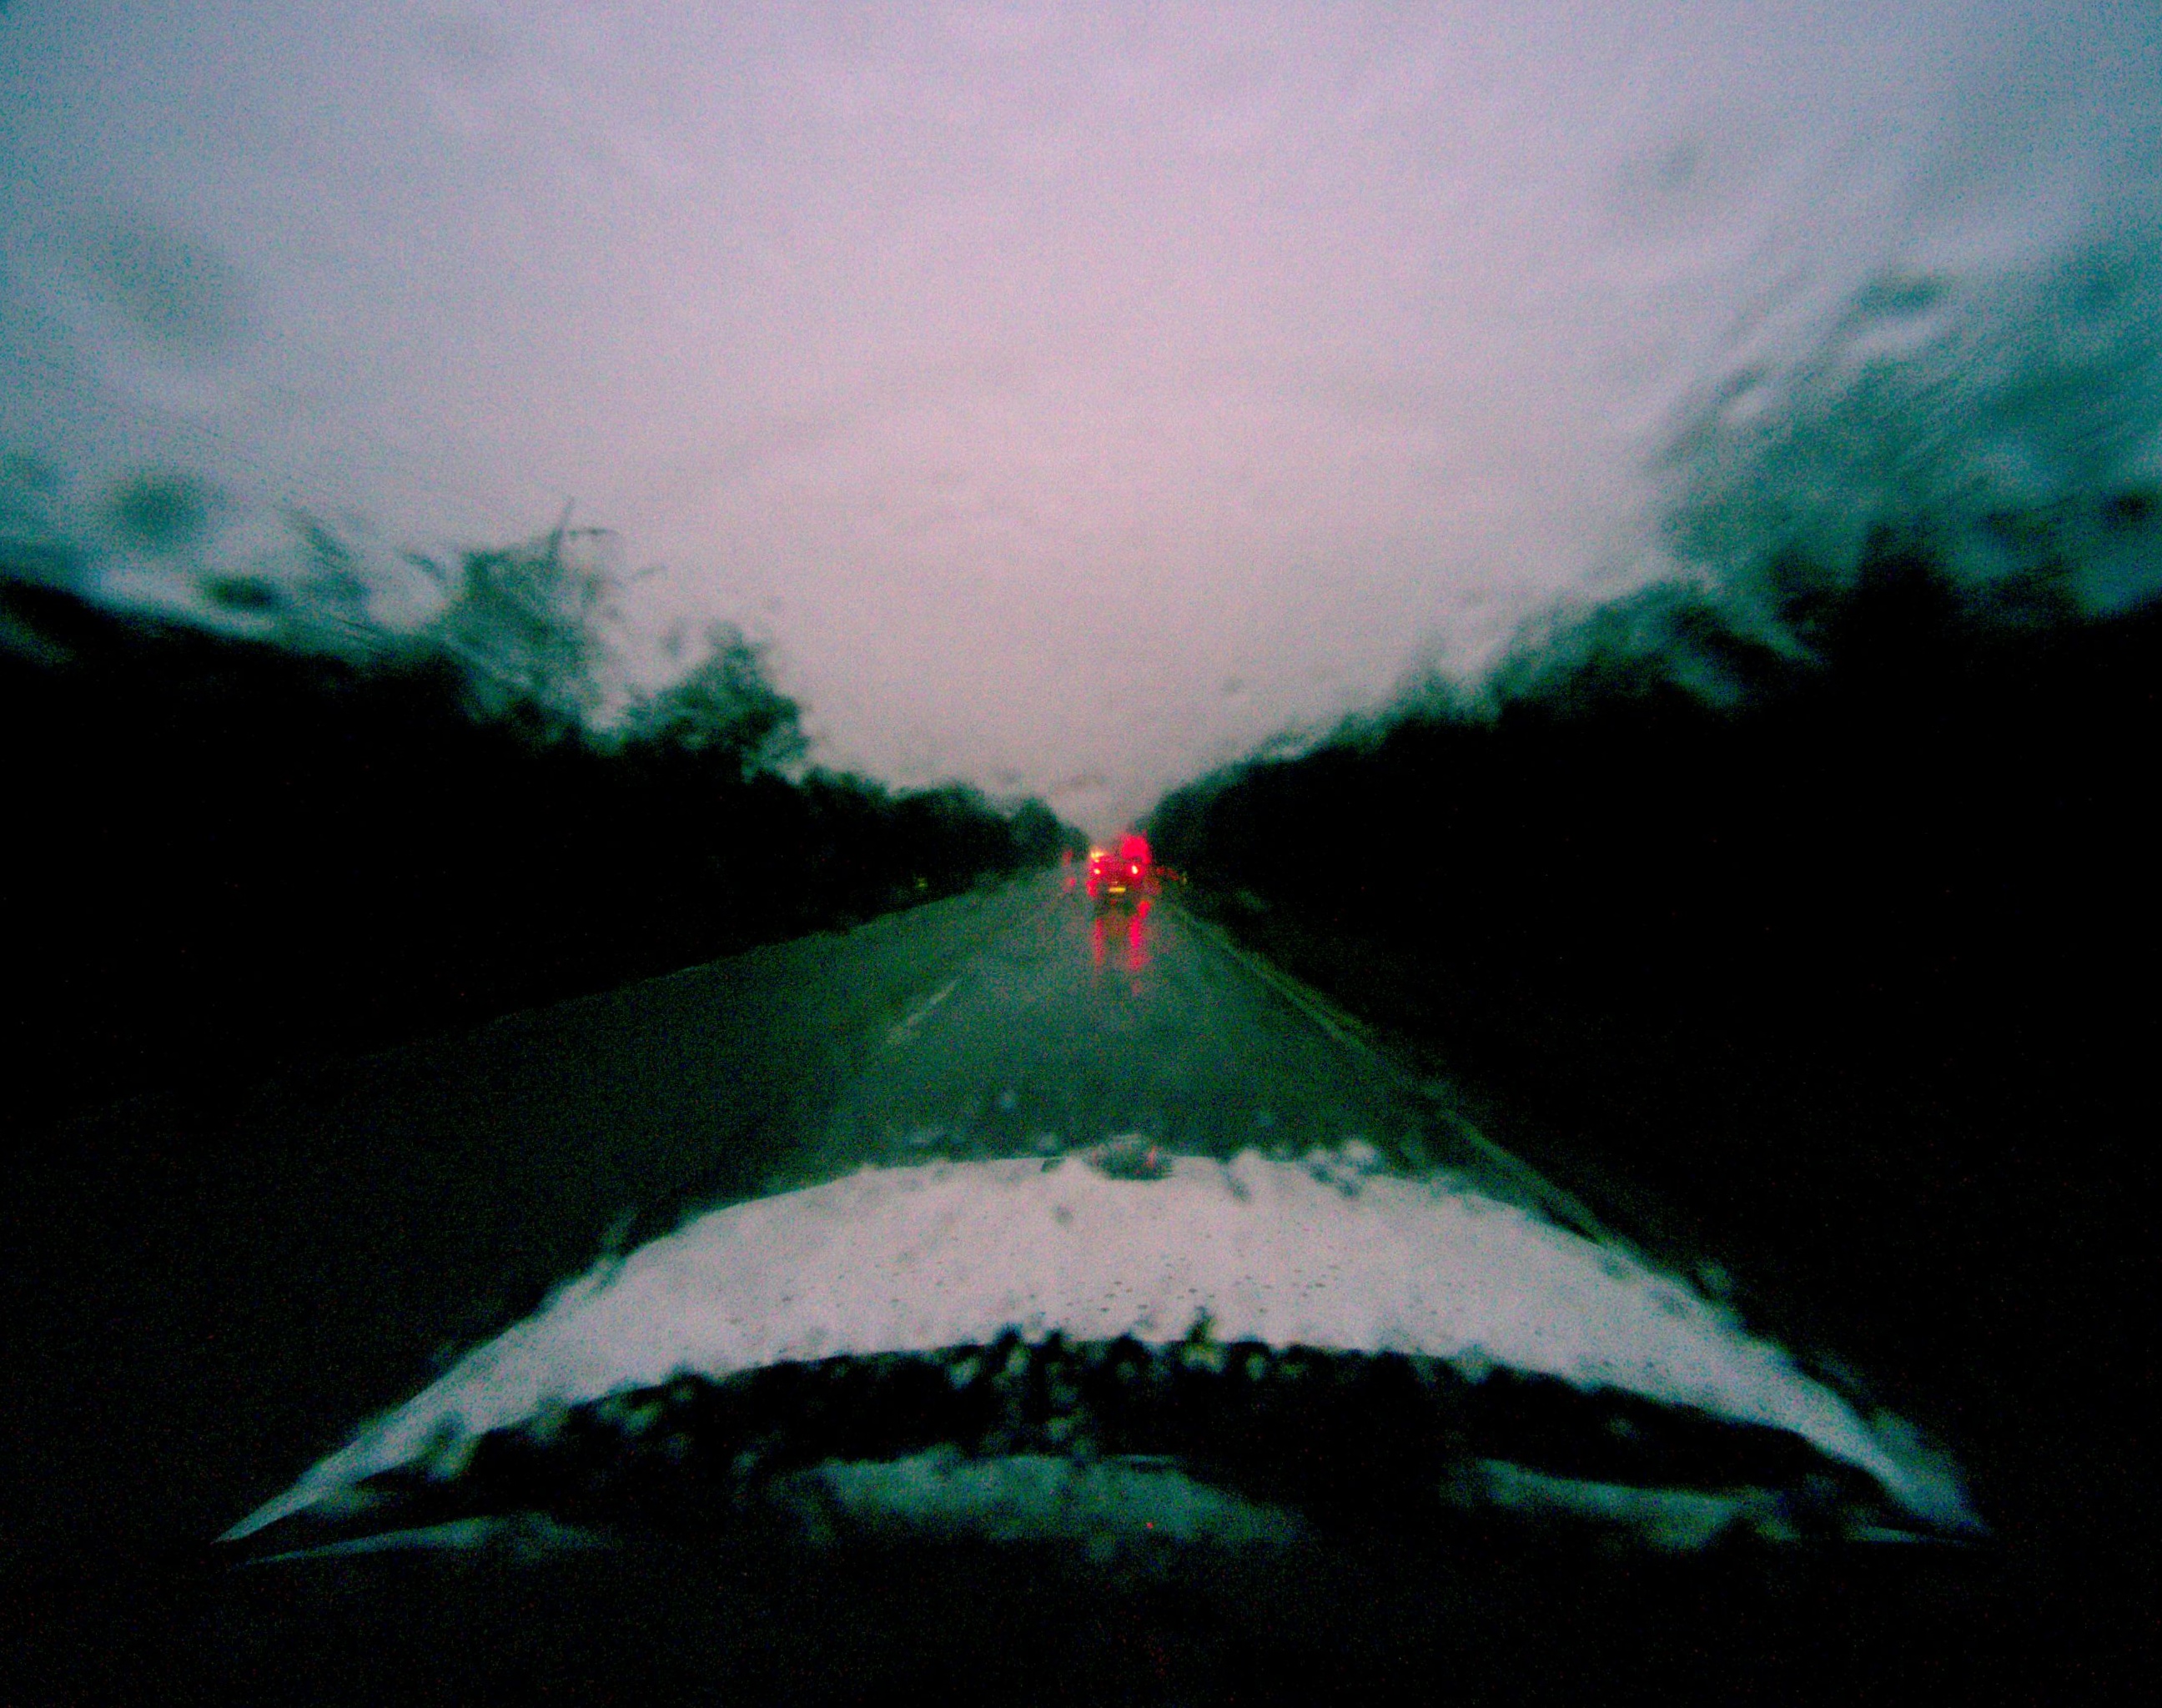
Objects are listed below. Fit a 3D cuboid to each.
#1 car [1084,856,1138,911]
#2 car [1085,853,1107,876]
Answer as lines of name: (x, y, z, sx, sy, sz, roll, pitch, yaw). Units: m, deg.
car: (0.972, 0.915, 26.535, 1.642, 1.672, 3.515, 0, 0, 2)
car: (1.237, 0.846, 66.492, 1.727, 1.779, 4.001, 0, 0, 1)
